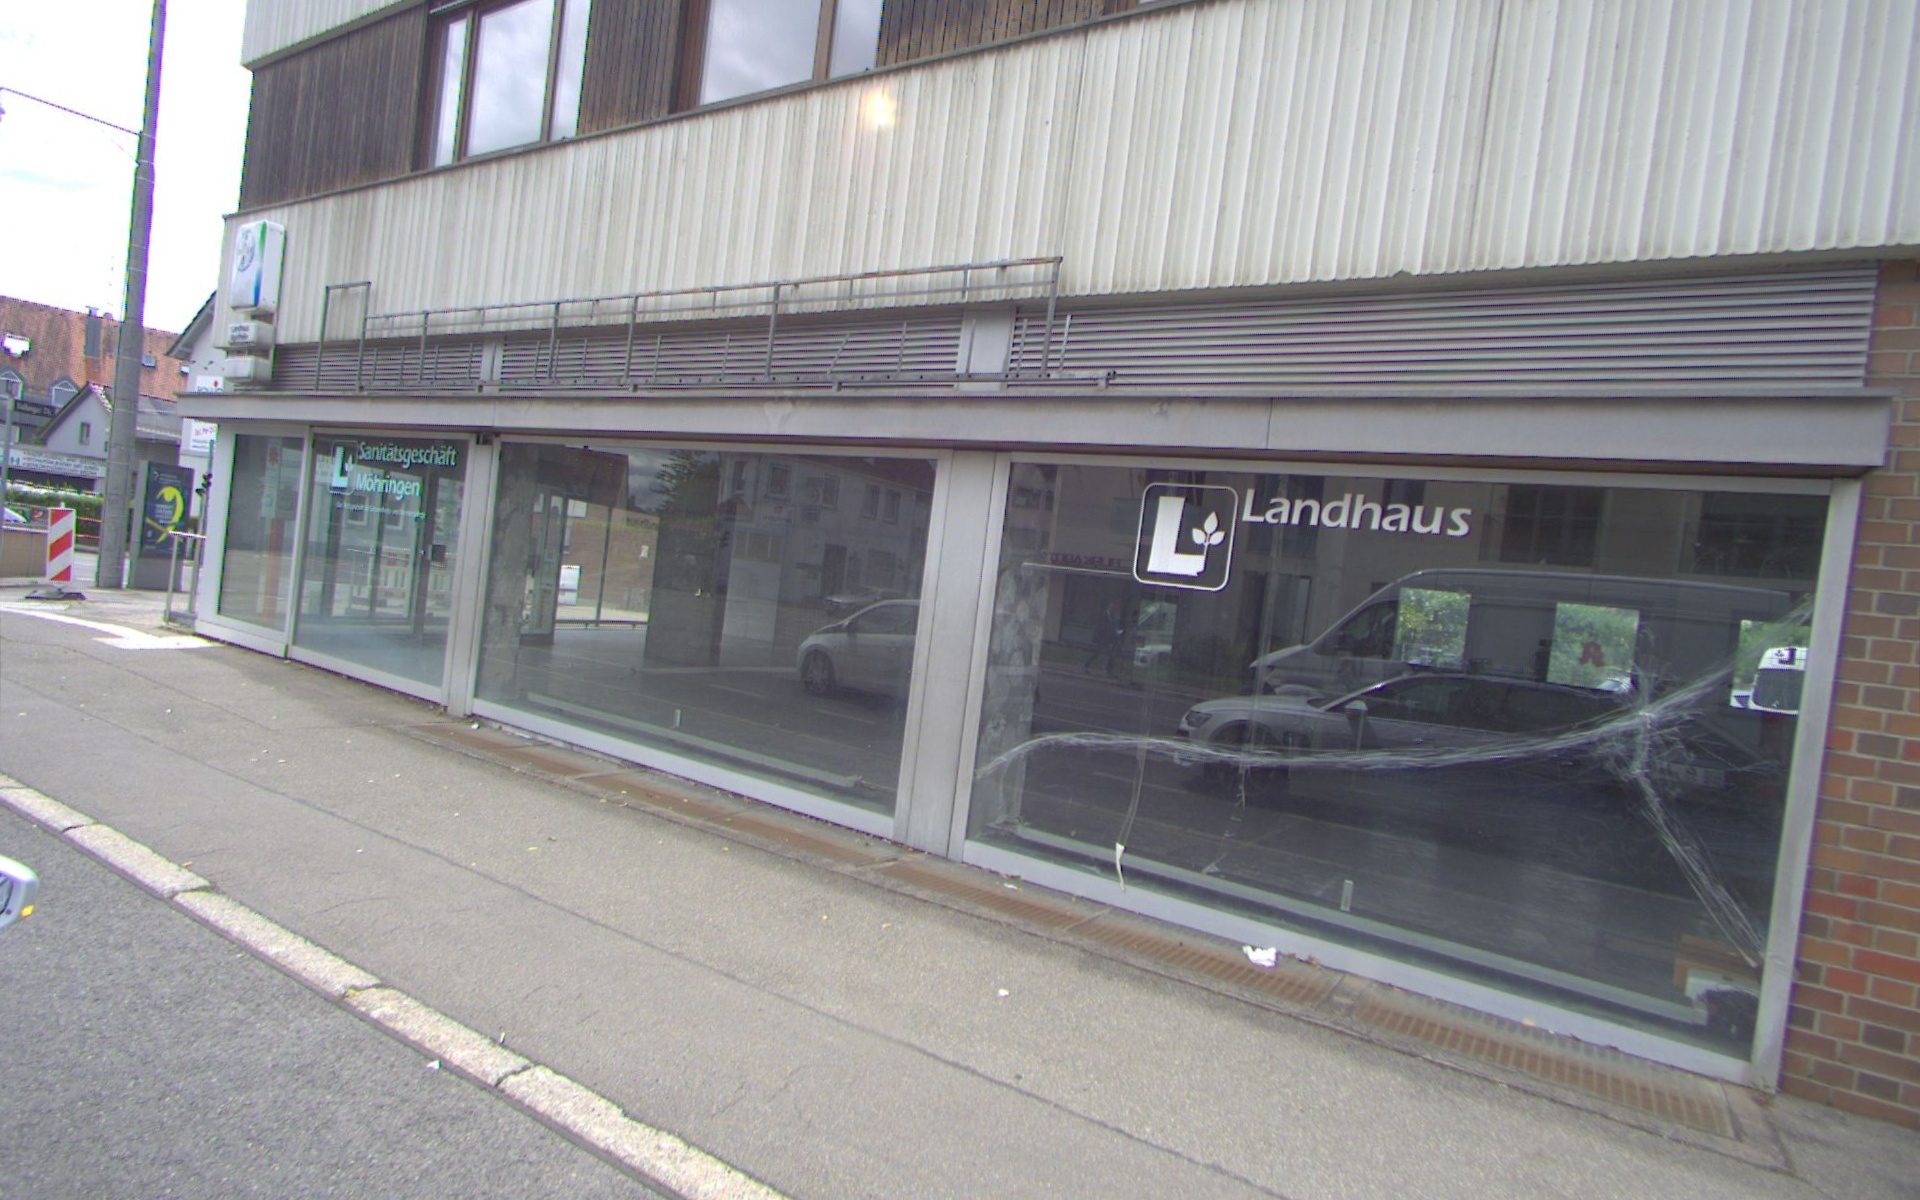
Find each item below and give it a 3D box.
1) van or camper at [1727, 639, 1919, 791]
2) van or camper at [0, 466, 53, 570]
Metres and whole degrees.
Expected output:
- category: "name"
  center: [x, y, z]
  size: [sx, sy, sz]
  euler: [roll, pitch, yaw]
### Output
- category: "van or camper"
  center: [18.986, 2.426, 20.058]
  size: [5.409, 2.574, 2.058]
  euler: [7, 1, 4]
- category: "van or camper"
  center: [-21.981, -2.047, 20.156]
  size: [1.963, 2.100, 5.137]
  euler: [7, -2, 22]
